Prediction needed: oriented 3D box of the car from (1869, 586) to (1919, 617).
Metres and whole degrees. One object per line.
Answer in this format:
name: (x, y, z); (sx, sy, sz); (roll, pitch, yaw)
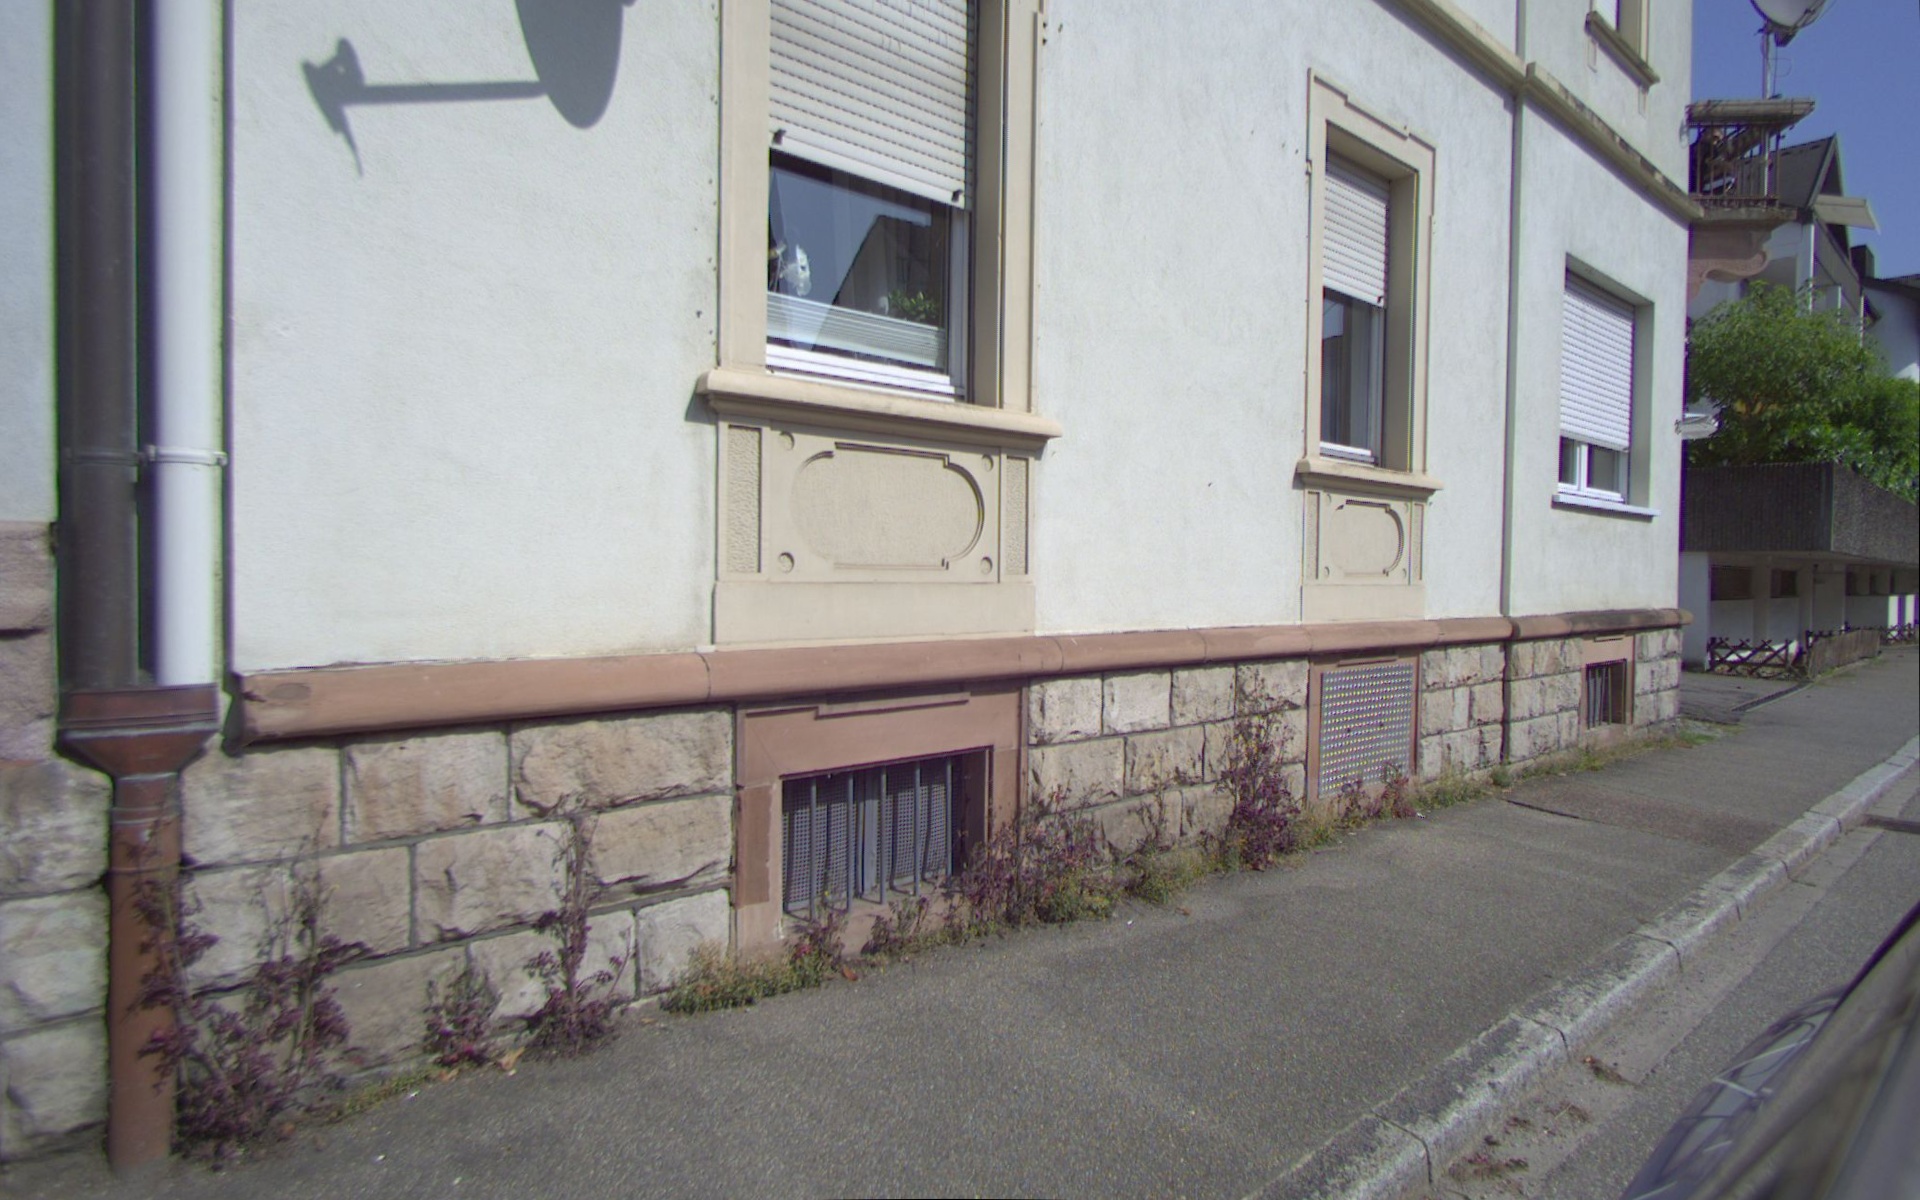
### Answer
car: (48.149, 0.075, 50.663); (1.672, 1.498, 3.830); (1, 0, -43)
